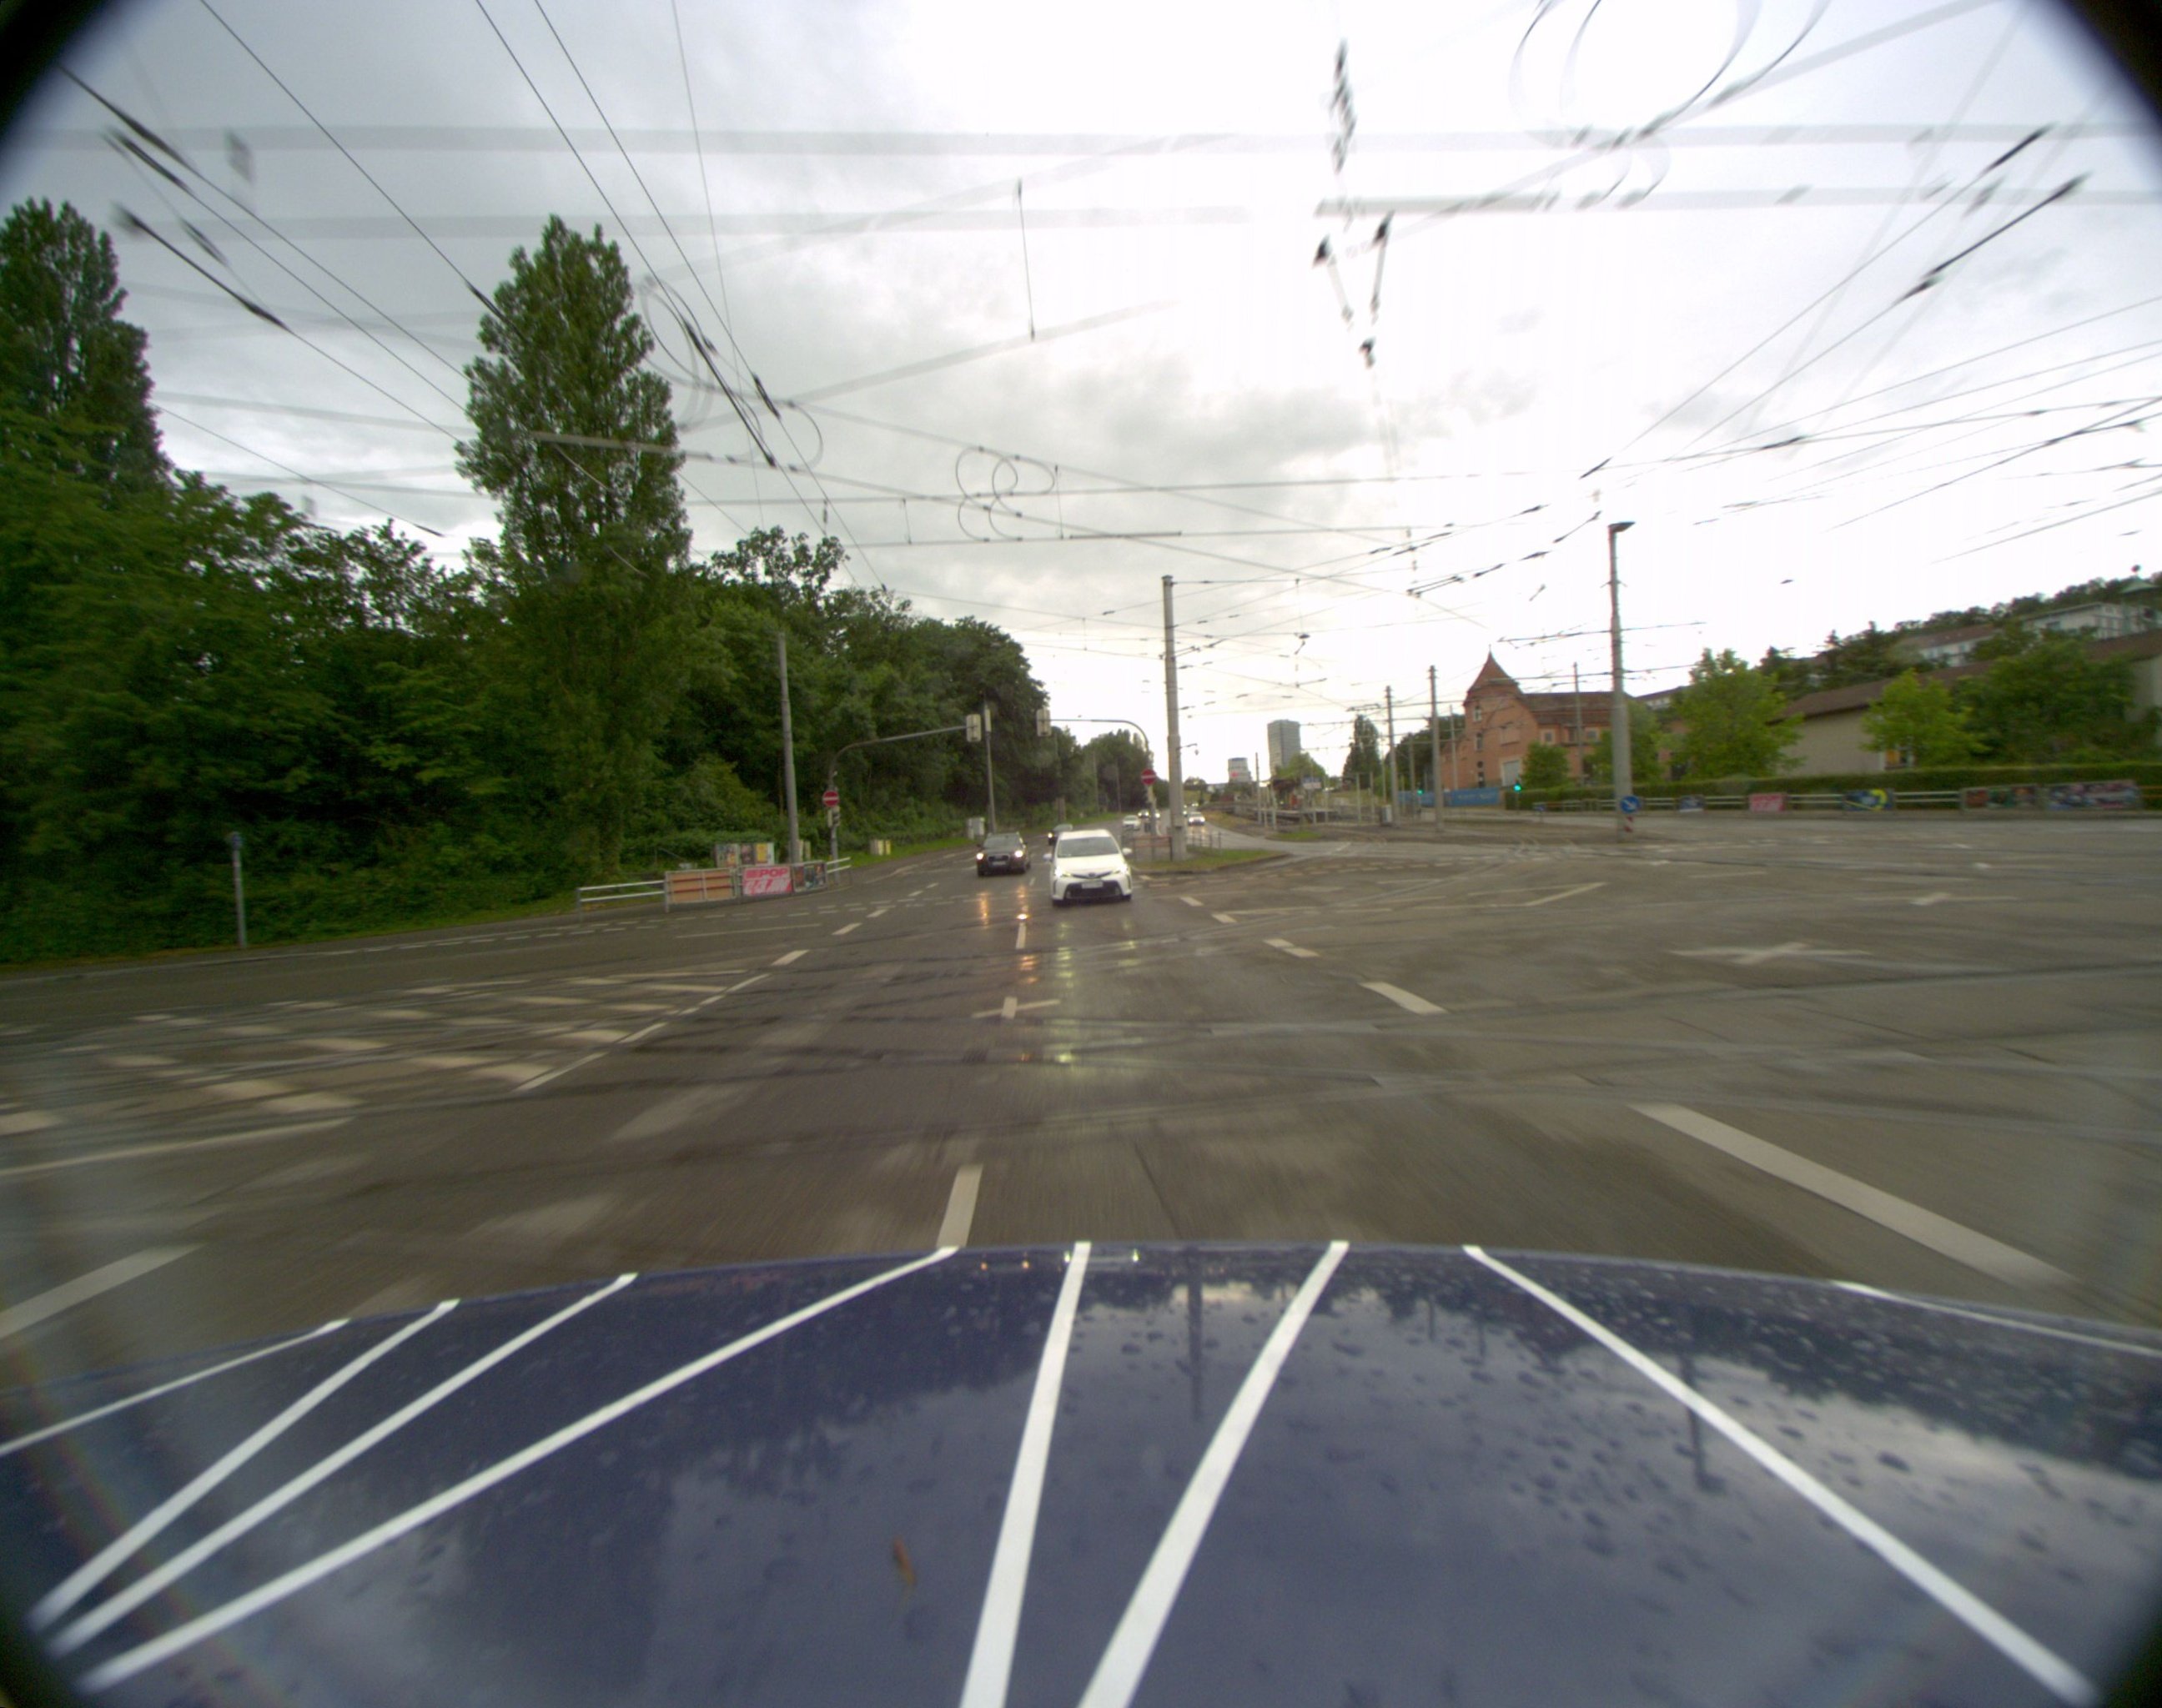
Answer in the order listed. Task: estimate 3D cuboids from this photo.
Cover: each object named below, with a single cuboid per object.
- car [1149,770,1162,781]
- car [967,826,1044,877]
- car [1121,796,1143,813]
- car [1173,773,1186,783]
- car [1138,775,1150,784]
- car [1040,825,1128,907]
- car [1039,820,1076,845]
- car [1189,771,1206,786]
[{"bbox_3d":[11.466,-12.019,117.004,1.801,1.464,3.999,-2,4,6],"label":"car"},{"bbox_3d":[-2.812,-0.155,29.398,1.854,1.580,3.999,-2,5,10],"label":"car"},{"bbox_3d":[5.287,-5.070,78.052,1.737,1.580,3.999,-2,5,10],"label":"car"},{"bbox_3d":[15.994,-12.288,123.624,1.801,1.464,3.998,-2,5,4],"label":"car"},{"bbox_3d":[11.104,-13.136,133.666,1.801,1.464,3.999,-2,4,7],"label":"car"},{"bbox_3d":[0.187,0.198,19.177,1.855,1.742,3.999,-3,2,4],"label":"car"},{"bbox_3d":[-1.646,-1.579,53.863,1.737,1.579,4.001,-3,3,10],"label":"car"},{"bbox_3d":[13.271,-8.514,86.306,1.737,1.580,3.999,-2,5,10],"label":"car"}]
